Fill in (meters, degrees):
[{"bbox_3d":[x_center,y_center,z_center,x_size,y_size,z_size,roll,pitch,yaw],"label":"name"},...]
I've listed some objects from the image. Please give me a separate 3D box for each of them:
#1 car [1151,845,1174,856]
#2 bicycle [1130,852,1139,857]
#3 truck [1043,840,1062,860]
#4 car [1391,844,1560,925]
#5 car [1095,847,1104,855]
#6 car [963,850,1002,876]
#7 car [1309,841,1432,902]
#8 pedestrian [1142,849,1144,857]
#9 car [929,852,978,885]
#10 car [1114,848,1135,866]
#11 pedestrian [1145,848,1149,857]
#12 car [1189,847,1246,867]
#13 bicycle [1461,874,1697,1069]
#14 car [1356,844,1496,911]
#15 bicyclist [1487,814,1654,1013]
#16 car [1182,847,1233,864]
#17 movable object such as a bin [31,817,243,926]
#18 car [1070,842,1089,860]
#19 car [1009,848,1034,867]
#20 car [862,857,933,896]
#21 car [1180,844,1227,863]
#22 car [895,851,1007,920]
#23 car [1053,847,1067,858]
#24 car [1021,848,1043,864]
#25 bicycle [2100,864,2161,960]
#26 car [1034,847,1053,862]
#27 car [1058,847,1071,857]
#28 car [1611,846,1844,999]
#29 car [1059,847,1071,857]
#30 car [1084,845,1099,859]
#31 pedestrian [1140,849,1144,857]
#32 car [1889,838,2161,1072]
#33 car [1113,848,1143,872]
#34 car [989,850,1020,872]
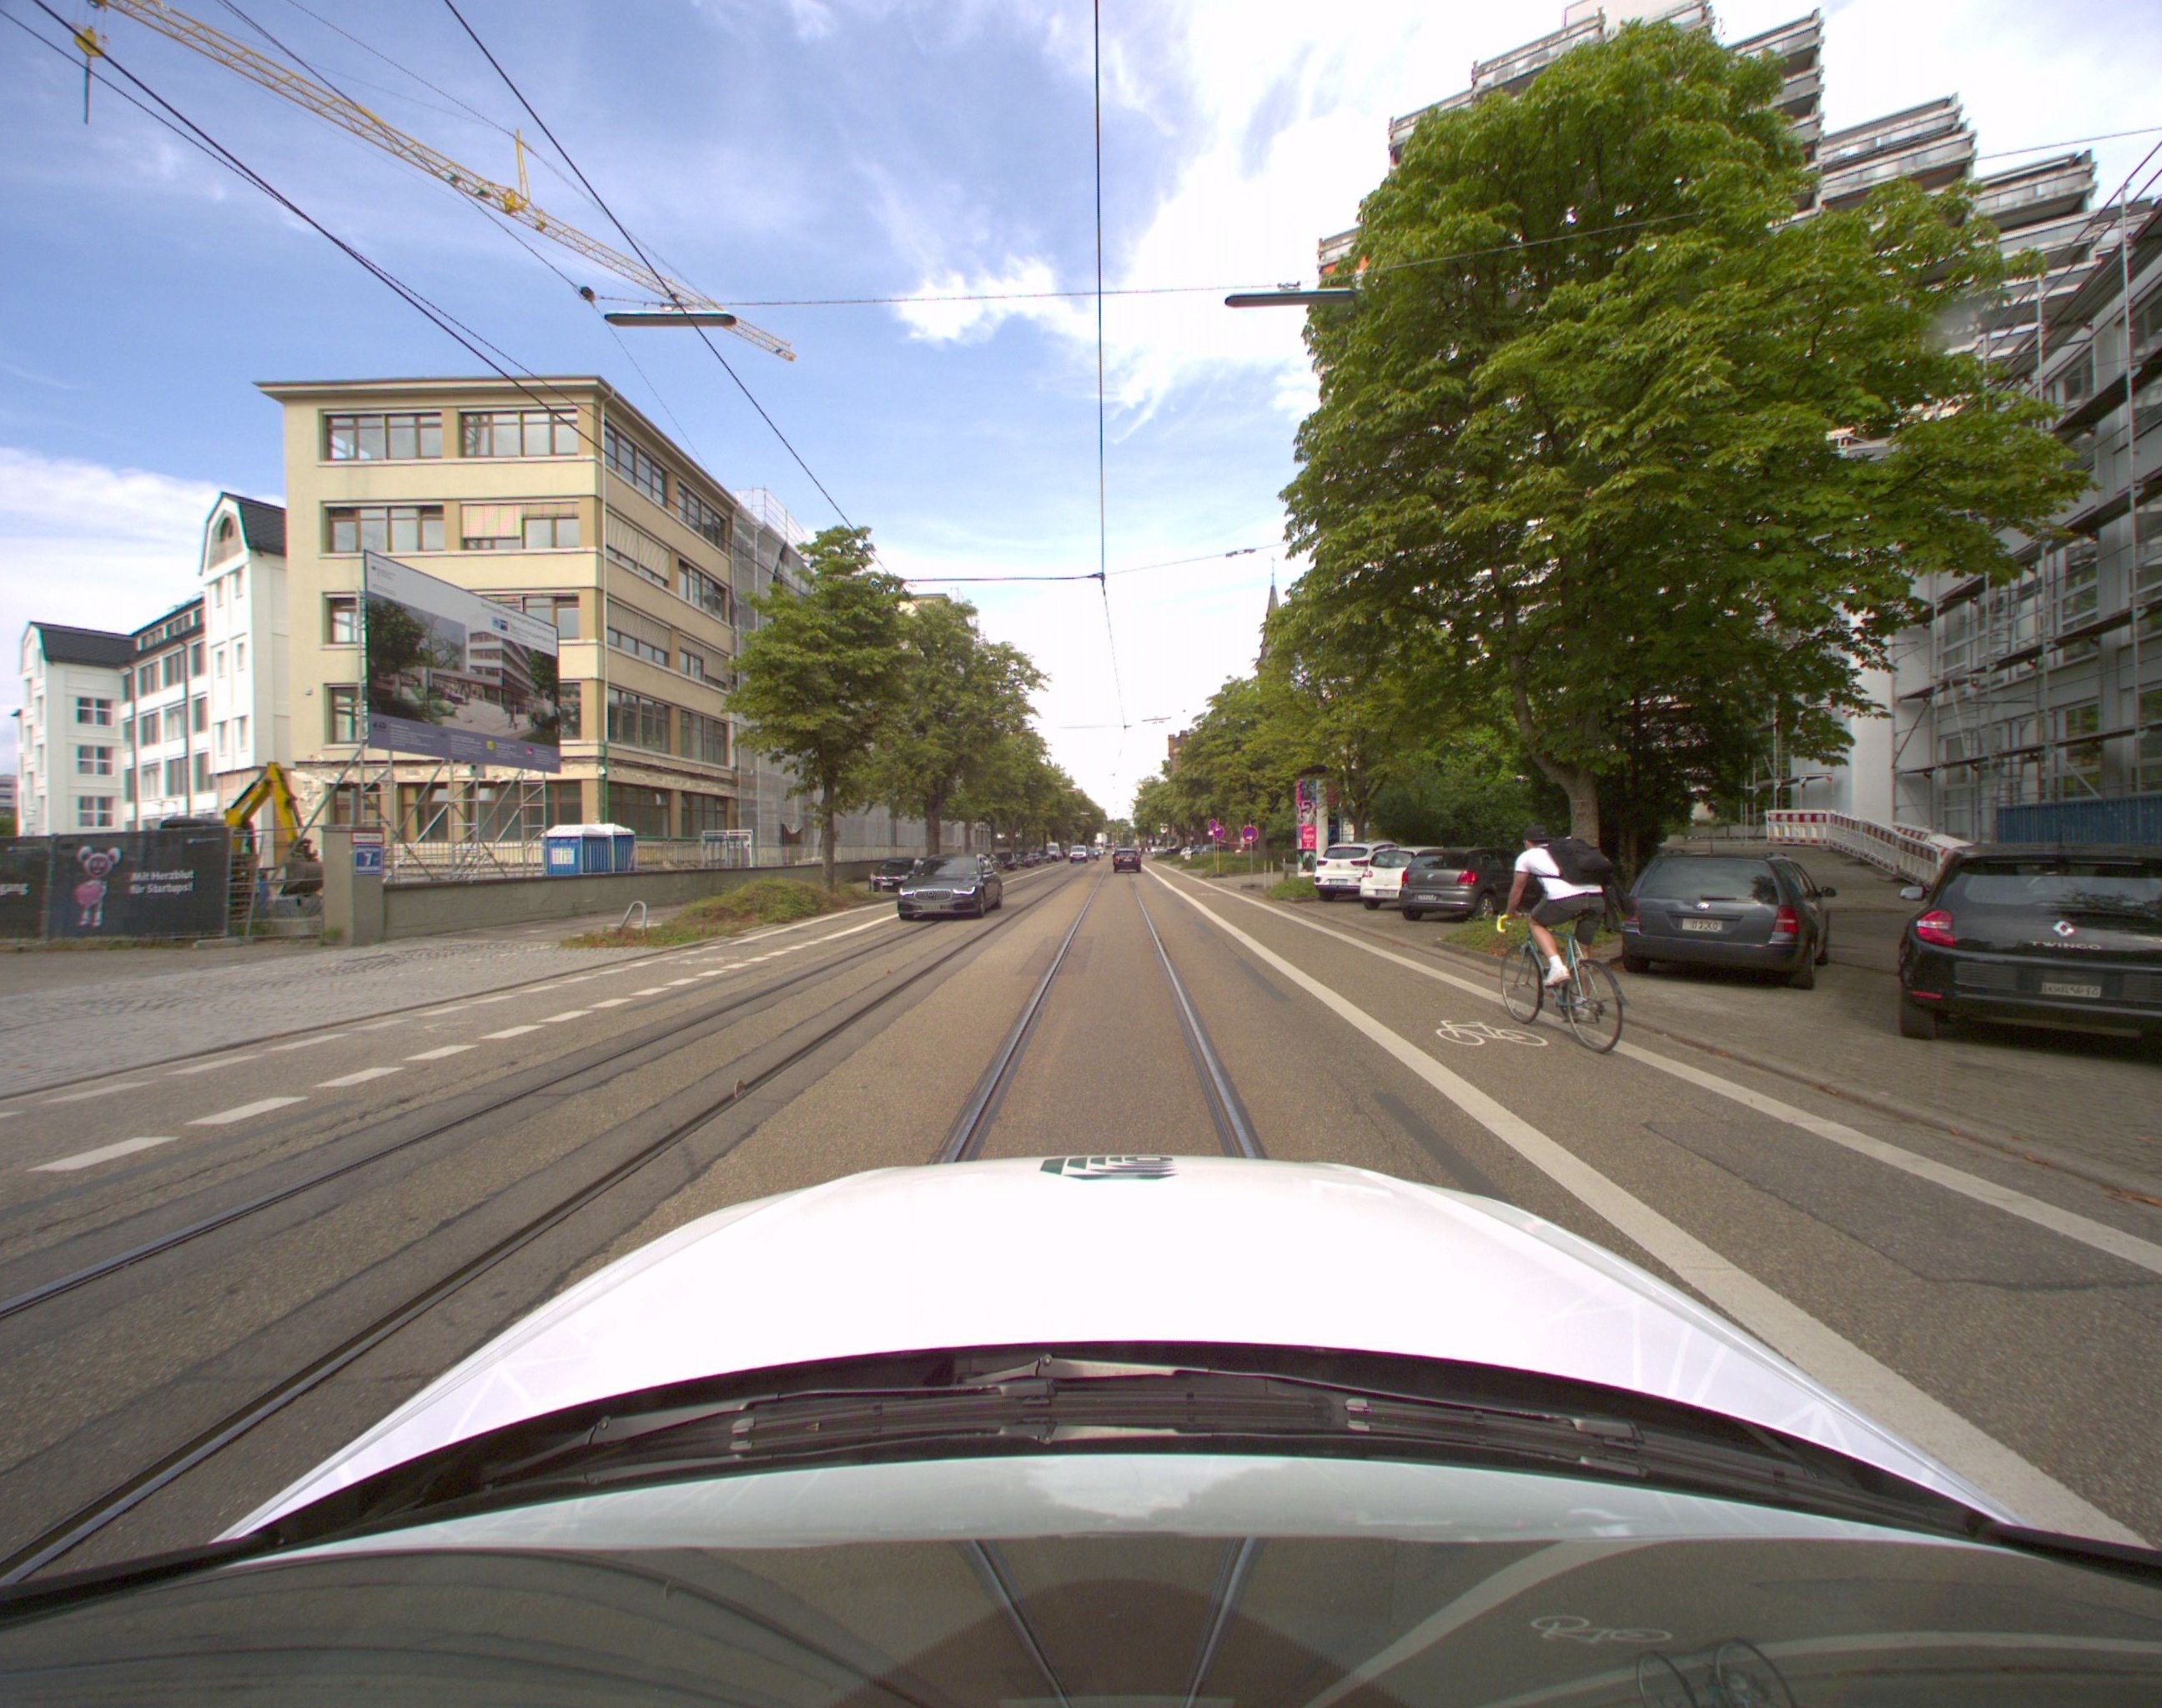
[{"bbox_3d":[14.491,-0.647,145.246,3.975,1.910,2.000,0,0,-1],"label":"car"},{"bbox_3d":[10.990,0.016,167.377,1.709,0.991,0.660,0,0,11],"label":"bicycle"},{"bbox_3d":[-3.712,-0.499,106.657,2.063,2.470,4.901,-2,0,2],"label":"truck"},{"bbox_3d":[7.998,0.540,16.426,3.551,1.442,1.606,-1,0,-37],"label":"car"},{"bbox_3d":[3.875,-0.688,173.943,1.795,1.622,4.486,-2,0,2],"label":"car"},{"bbox_3d":[-6.283,0.544,52.264,1.795,1.583,4.033,-2,0,2],"label":"car"},{"bbox_3d":[8.067,0.435,22.581,3.463,1.572,1.543,-1,0,-37],"label":"car"},{"bbox_3d":[15.185,-0.237,199.243,0.515,2.013,0.480,0,0,6],"label":"pedestrian"},{"bbox_3d":[-6.732,0.720,43.398,1.795,1.583,4.033,-2,0,2],"label":"car"},{"bbox_3d":[3.760,0.247,71.016,1.786,1.470,4.002,1,0,2],"label":"car"},{"bbox_3d":[11.651,-0.312,144.211,0.723,1.646,0.767,0,0,4],"label":"pedestrian"},{"bbox_3d":[10.205,0.196,61.169,3.975,1.425,1.884,-1,0,-1],"label":"car"},{"bbox_3d":[3.884,0.829,6.605,0.655,1.249,2.125,0,1,1],"label":"bicycle"},{"bbox_3d":[8.279,0.503,19.472,3.463,1.442,1.543,-1,0,-37],"label":"car"},{"bbox_3d":[3.893,0.428,6.576,0.655,1.463,1.179,0,0,1],"label":"bicyclist"},{"bbox_3d":[10.522,0.116,68.068,3.975,1.425,1.884,-1,0,-1],"label":"car"},{"bbox_3d":[-18.969,0.325,16.467,1.977,2.067,1.963,-1,0,4],"label":"movable object such as a bin"},{"bbox_3d":[-0.140,-0.326,87.386,1.795,1.823,4.486,-2,0,2],"label":"car"},{"bbox_3d":[-5.301,0.292,73.226,1.795,1.583,4.033,-2,0,2],"label":"car"},{"bbox_3d":[-7.370,0.868,33.014,1.795,1.374,4.033,-2,0,2],"label":"car"},{"bbox_3d":[10.996,-0.047,73.462,3.975,1.627,1.884,-1,0,-1],"label":"car"},{"bbox_3d":[-2.999,0.663,19.741,1.828,1.448,4.555,-1,0,2],"label":"car"},{"bbox_3d":[-3.093,-0.202,119.164,1.795,1.583,4.033,-2,0,2],"label":"car"},{"bbox_3d":[-4.939,0.197,81.954,1.795,1.583,4.033,-2,0,2],"label":"car"},{"bbox_3d":[13.623,0.678,9.572,1.947,1.128,0.542,-2,-1,32],"label":"bicycle"},{"bbox_3d":[-4.312,0.068,93.582,1.795,1.583,4.033,-2,0,2],"label":"car"},{"bbox_3d":[-2.716,-0.337,132.269,1.795,1.583,4.033,-2,0,2],"label":"car"},{"bbox_3d":[7.772,0.644,9.670,3.760,1.458,1.620,0,0,-43],"label":"car"},{"bbox_3d":[-2.707,-0.378,138.357,1.795,1.583,4.033,-2,0,2],"label":"car"},{"bbox_3d":[1.366,-0.272,107.091,1.795,1.622,4.486,-2,0,2],"label":"car"},{"bbox_3d":[12.567,-0.302,167.183,0.721,1.646,0.769,0,0,12],"label":"pedestrian"},{"bbox_3d":[8.097,0.645,6.898,3.760,1.522,1.620,0,0,-43],"label":"car"},{"bbox_3d":[2.933,0.366,51.542,1.786,1.423,4.002,0,0,2],"label":"car"},{"bbox_3d":[-5.884,0.526,62.997,1.795,1.583,4.033,-2,0,2],"label":"car"}]
